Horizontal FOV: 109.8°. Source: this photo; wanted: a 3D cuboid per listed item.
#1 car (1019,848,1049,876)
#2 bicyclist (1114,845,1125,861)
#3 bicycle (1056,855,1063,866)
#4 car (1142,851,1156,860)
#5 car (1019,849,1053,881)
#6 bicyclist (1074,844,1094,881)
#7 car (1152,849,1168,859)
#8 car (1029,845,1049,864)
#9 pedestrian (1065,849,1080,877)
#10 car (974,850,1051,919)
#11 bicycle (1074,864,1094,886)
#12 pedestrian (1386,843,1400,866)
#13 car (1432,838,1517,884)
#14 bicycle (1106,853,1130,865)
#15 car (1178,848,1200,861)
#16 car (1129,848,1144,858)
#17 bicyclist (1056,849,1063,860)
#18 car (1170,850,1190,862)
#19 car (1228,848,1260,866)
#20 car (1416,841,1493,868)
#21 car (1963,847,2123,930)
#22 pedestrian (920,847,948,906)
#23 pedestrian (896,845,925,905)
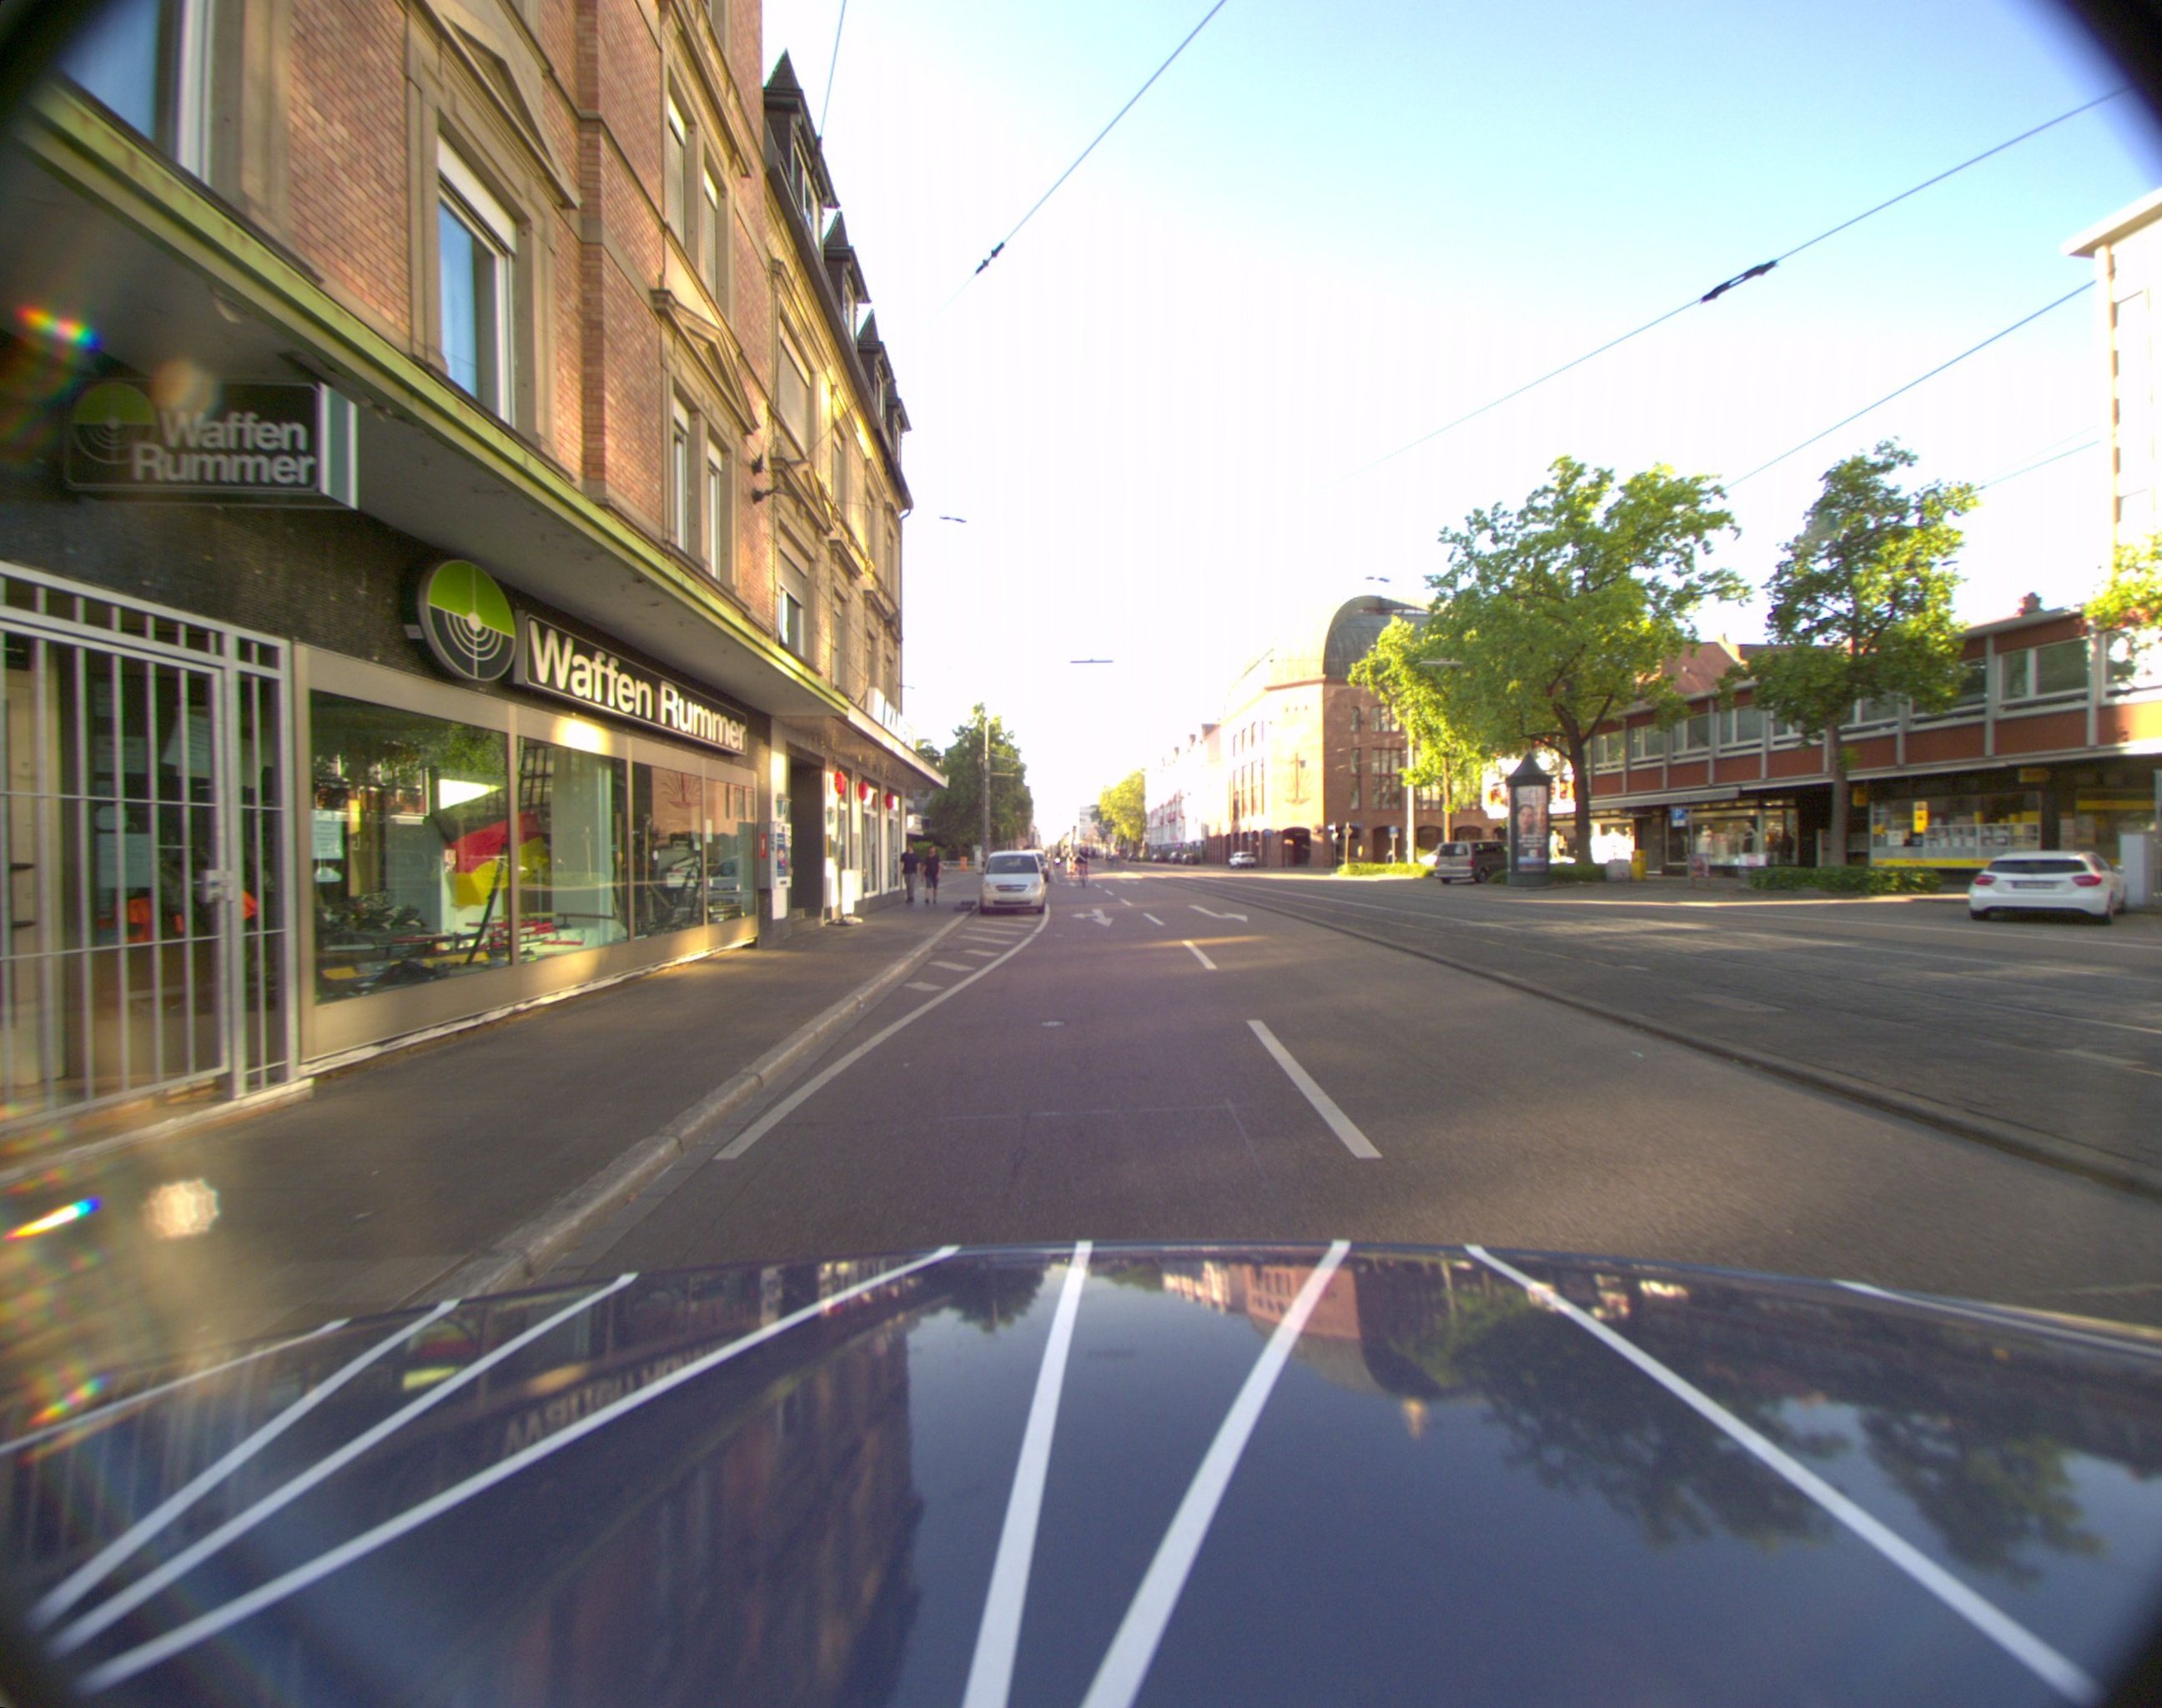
[{"bbox_3d":[-2.929,0.461,47.960,1.671,1.674,3.999,-1,0,-1],"label":"car"},{"bbox_3d":[3.433,-0.112,67.794,0.762,1.414,0.674,0,1,33],"label":"bicyclist"},{"bbox_3d":[-2.339,0.658,81.337,0.646,1.176,1.803,0,0,-5],"label":"bicycle"},{"bbox_3d":[12.592,0.235,141.147,1.965,1.594,3.998,-2,1,-4],"label":"car"},{"bbox_3d":[-2.494,0.557,42.544,1.671,1.674,3.999,-1,0,-1],"label":"car"},{"bbox_3d":[0.147,0.395,34.741,0.886,1.650,0.803,0,1,1],"label":"bicyclist"},{"bbox_3d":[12.978,-0.072,125.243,1.965,1.594,3.998,-2,1,-4],"label":"car"},{"bbox_3d":[-3.981,0.042,72.225,1.671,1.674,3.999,-1,0,-1],"label":"car"},{"bbox_3d":[-0.514,0.528,45.095,0.849,1.652,0.850,0,1,1],"label":"pedestrian"},{"bbox_3d":[-1.754,0.728,20.609,1.671,1.674,4.000,-1,0,1],"label":"car"},{"bbox_3d":[0.156,0.946,34.898,0.886,0.949,1.765,0,0,1],"label":"bicycle"},{"bbox_3d":[23.297,0.039,56.788,0.790,1.737,0.548,0,1,1],"label":"pedestrian"},{"bbox_3d":[18.091,0.286,34.896,4.007,1.953,1.906,-2,1,-37],"label":"car"},{"bbox_3d":[3.287,0.451,67.903,2.033,1.085,0.674,0,1,33],"label":"bicycle"},{"bbox_3d":[14.188,0.087,99.685,1.965,1.594,3.998,-2,1,-4],"label":"car"},{"bbox_3d":[9.560,-0.165,130.412,1.965,1.594,3.998,-2,1,-4],"label":"car"},{"bbox_3d":[-2.298,0.059,81.518,0.646,1.176,0.722,0,1,-5],"label":"bicyclist"},{"bbox_3d":[13.779,0.302,106.244,1.965,1.594,3.998,-2,1,-4],"label":"car"},{"bbox_3d":[15.568,0.272,72.786,1.911,1.594,3.998,-2,1,-4],"label":"car"},{"bbox_3d":[28.577,0.032,58.192,4.985,2.002,1.999,0,1,-4],"label":"car"},{"bbox_3d":[20.551,0.642,16.201,4.006,1.466,1.793,-2,1,-34],"label":"car"},{"bbox_3d":[-4.312,0.646,22.295,0.701,1.713,0.502,1,1,-1],"label":"pedestrian"},{"bbox_3d":[-5.044,0.613,22.491,0.701,1.713,0.681,1,1,-1],"label":"pedestrian"}]
